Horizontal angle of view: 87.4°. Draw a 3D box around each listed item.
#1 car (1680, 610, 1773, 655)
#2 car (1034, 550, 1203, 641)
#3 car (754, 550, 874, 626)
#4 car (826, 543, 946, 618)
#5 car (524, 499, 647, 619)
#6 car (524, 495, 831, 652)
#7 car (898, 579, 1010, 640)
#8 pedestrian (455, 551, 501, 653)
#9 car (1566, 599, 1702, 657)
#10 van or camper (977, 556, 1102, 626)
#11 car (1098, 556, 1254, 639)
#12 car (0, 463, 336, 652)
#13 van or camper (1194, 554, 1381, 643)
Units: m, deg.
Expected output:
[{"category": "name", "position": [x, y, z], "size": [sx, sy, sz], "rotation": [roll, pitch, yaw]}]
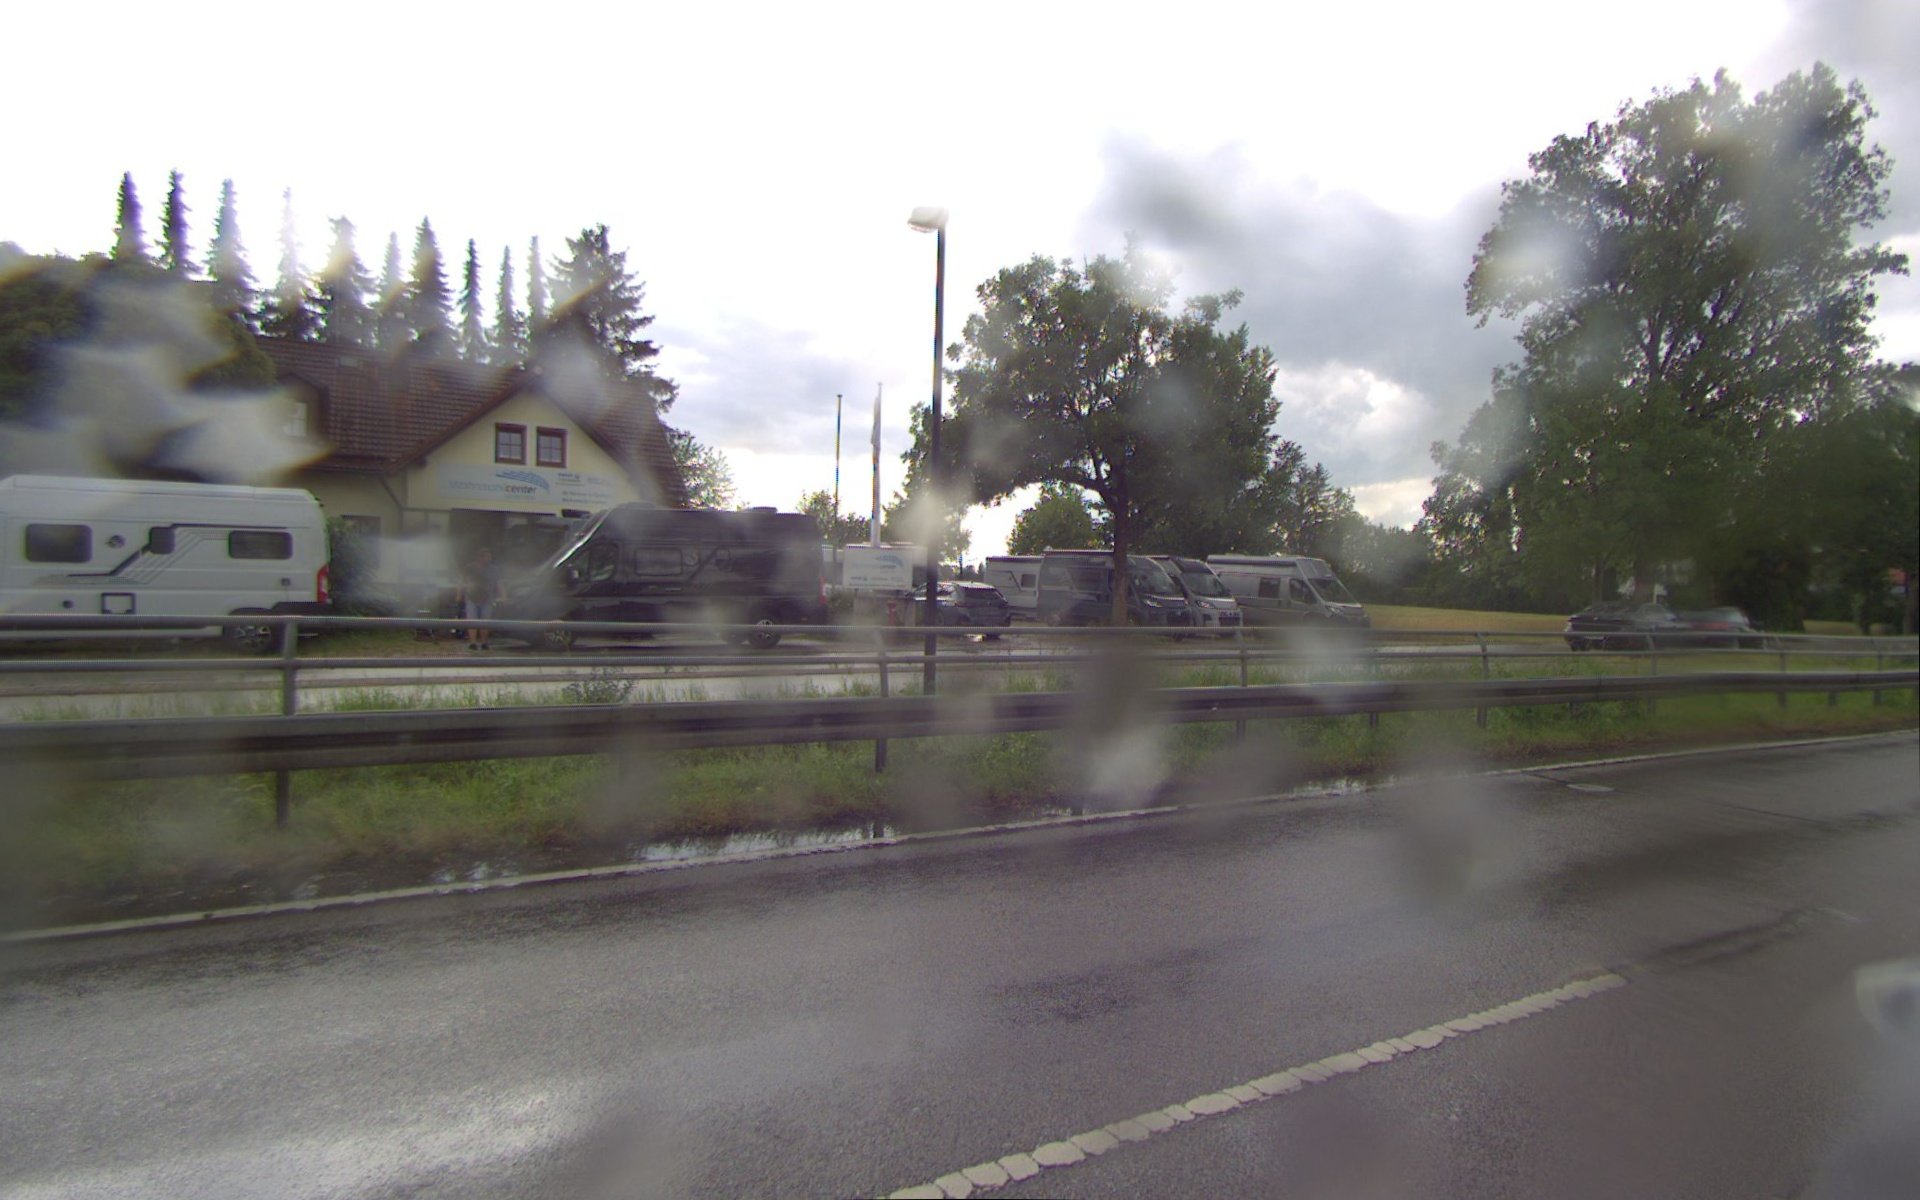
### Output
[{"category": "car", "position": [24.904, 1.021, 32.589], "size": [3.859, 1.349, 1.274], "rotation": [1, 1, -35]}, {"category": "car", "position": [4.676, -0.213, 30.464], "size": [1.980, 2.535, 5.148], "rotation": [1, 2, -35]}, {"category": "car", "position": [-5.249, -0.468, 35.322], "size": [2.067, 2.449, 6.062], "rotation": [1, 1, -30]}, {"category": "car", "position": [-2.914, -0.764, 37.899], "size": [2.067, 2.573, 6.062], "rotation": [1, 1, -30]}, {"category": "car", "position": [-10.044, -1.040, 26.614], "size": [2.142, 2.802, 5.610], "rotation": [1, 1, -30]}, {"category": "car", "position": [-5.644, -0.468, 20.336], "size": [5.512, 2.800, 2.369], "rotation": [1, 2, -33]}, {"category": "car", "position": [-0.247, 0.218, 28.287], "size": [1.521, 1.516, 3.868], "rotation": [1, 2, -28]}, {"category": "pedestrian", "position": [-8.367, 0.030, 17.450], "size": [0.641, 1.733, 0.514], "rotation": [1, 2, -22]}, {"category": "car", "position": [19.478, 0.783, 28.952], "size": [5.070, 1.511, 1.505], "rotation": [1, 2, -35]}, {"category": "van or camper", "position": [3.104, -0.434, 40.695], "size": [1.977, 2.625, 5.773], "rotation": [1, 2, -31]}, {"category": "car", "position": [6.989, -0.148, 33.062], "size": [1.978, 2.492, 5.062], "rotation": [1, 2, -32]}, {"category": "car", "position": [-13.112, -0.611, 15.394], "size": [5.952, 2.615, 2.225], "rotation": [1, 2, -32]}, {"category": "van or camper", "position": [10.801, -0.133, 33.635], "size": [2.060, 2.713, 5.835], "rotation": [1, 2, -35]}]
